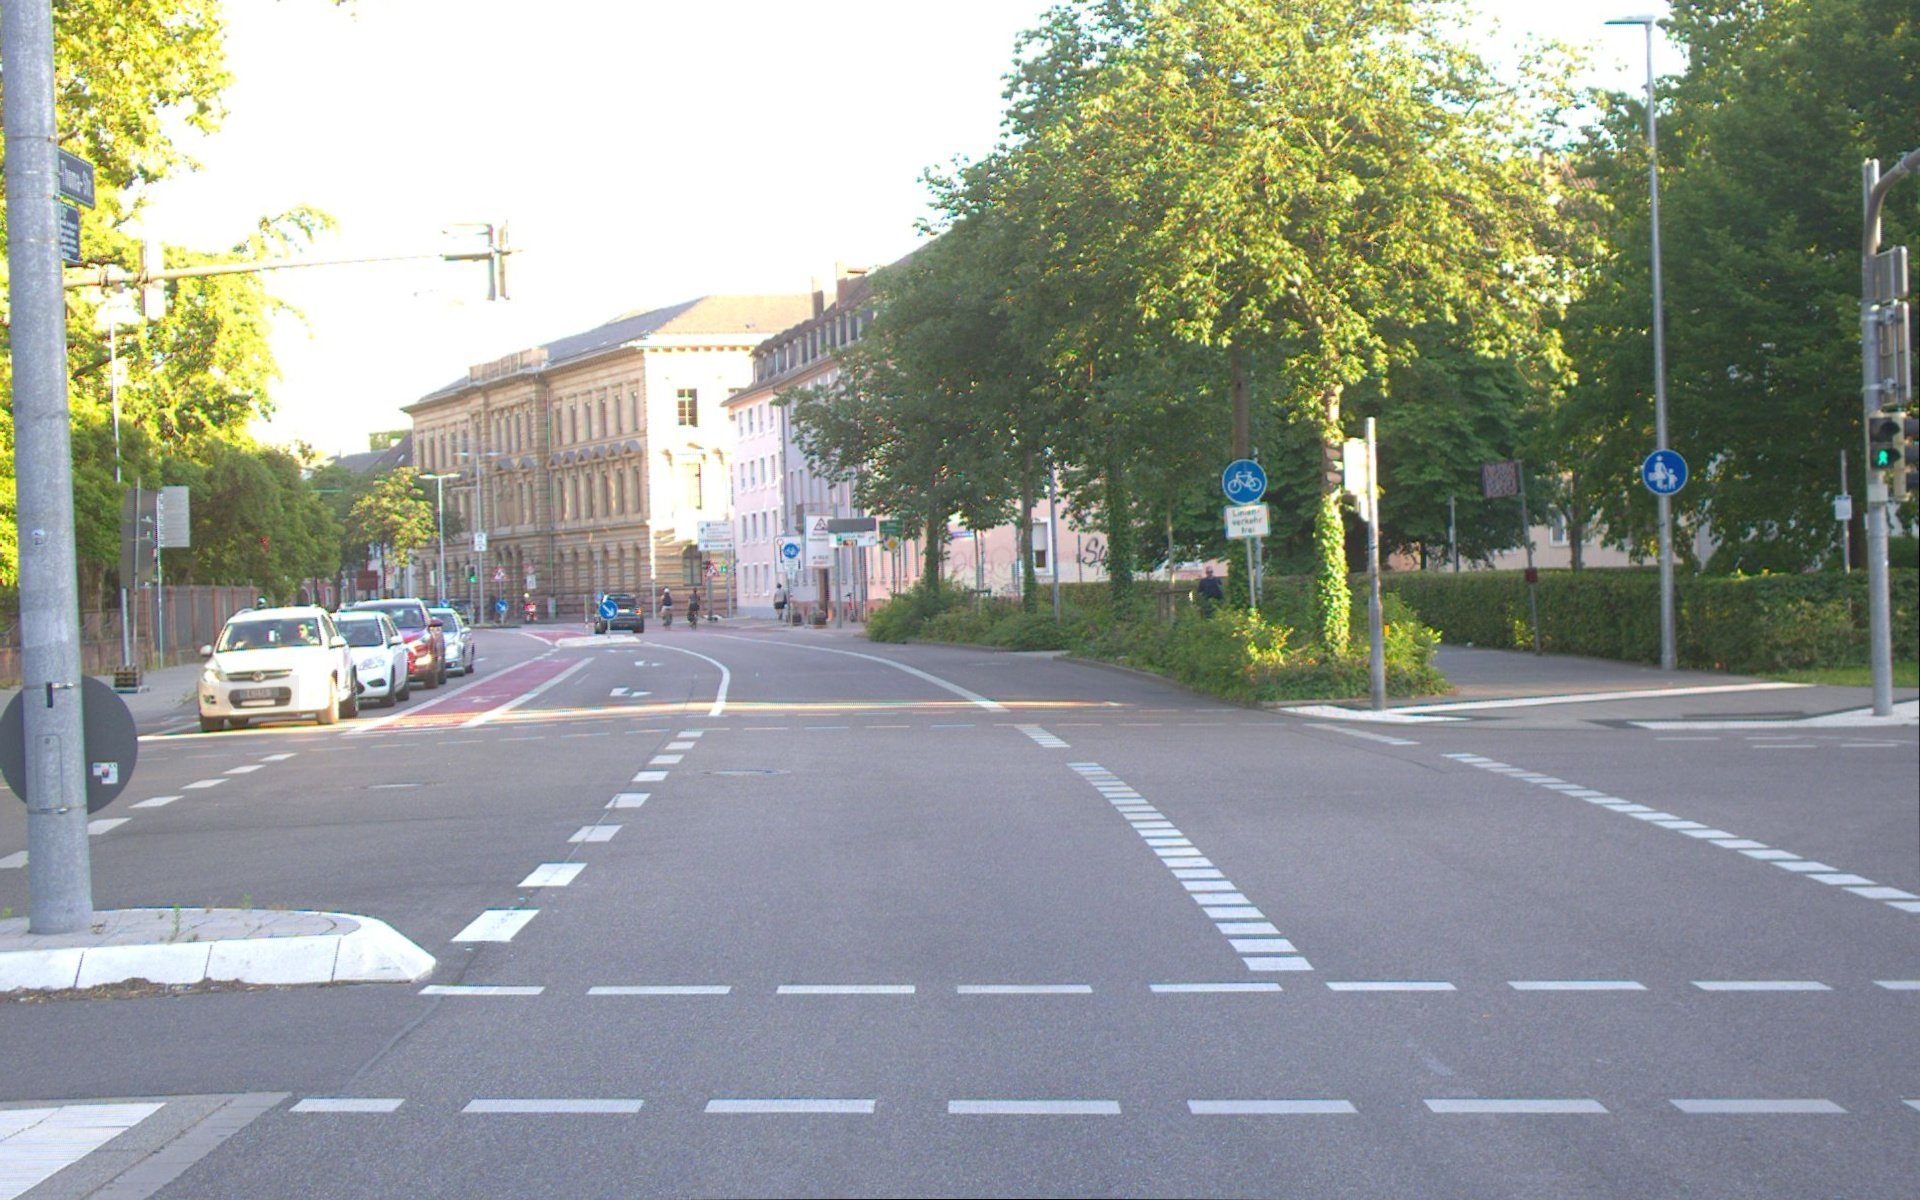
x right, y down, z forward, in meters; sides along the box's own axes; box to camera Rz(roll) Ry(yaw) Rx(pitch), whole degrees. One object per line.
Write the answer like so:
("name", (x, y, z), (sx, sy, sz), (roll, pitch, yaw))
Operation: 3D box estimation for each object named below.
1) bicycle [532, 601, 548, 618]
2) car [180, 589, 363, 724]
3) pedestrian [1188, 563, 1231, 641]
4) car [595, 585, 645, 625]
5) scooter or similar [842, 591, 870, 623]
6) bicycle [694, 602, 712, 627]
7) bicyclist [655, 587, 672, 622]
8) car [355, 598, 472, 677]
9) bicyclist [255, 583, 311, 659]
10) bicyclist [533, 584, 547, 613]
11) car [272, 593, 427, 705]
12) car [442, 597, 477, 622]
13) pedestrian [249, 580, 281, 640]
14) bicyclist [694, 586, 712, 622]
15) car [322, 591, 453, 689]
("bicycle", (-25.117, 0.585, 205.533), (0.652, 1.012, 2.198), (1, 0, -15))
("car", (-9.616, 0.748, 48.314), (1.916, 1.690, 4.427), (-4, 1, -5))
("pedestrian", (5.692, 0.041, 78.437), (0.769, 1.733, 0.807), (-2, 0, -10))
("car", (-13.066, 0.188, 132.062), (1.867, 1.505, 4.001), (-1, 0, -5))
("scooter or similar", (-4.348, 0.295, 143.303), (0.629, 1.332, 2.401), (-1, 0, -14))
("bicycle", (-10.688, 0.613, 142.861), (0.652, 1.012, 2.198), (1, 0, -7))
("bicyclist", (-12.337, 0.191, 142.841), (0.652, 1.441, 0.879), (1, 0, -7))
("car", (-11.052, 0.730, 69.803), (1.916, 1.413, 4.771), (-4, 1, -5))
("bicyclist", (-13.040, 0.393, 66.224), (0.855, 1.426, 0.943), (-2, 0, 0))
("bicyclist", (-25.100, -0.087, 205.513), (0.652, 1.692, 0.957), (1, 0, -15))
("car", (-9.723, 0.748, 55.050), (1.916, 1.578, 4.675), (-4, 1, -5))
("car", (-31.101, 0.606, 213.680), (1.916, 1.413, 4.771), (-4, 1, -10))
("pedestrian", (-18.941, 0.269, 93.686), (0.681, 1.617, 0.688), (-2, 0, -1))
("bicyclist", (-10.680, 0.151, 142.867), (0.652, 1.470, 0.941), (1, 0, -7))
("car", (-10.521, 0.704, 63.437), (1.916, 1.619, 4.640), (-4, 1, -5))
